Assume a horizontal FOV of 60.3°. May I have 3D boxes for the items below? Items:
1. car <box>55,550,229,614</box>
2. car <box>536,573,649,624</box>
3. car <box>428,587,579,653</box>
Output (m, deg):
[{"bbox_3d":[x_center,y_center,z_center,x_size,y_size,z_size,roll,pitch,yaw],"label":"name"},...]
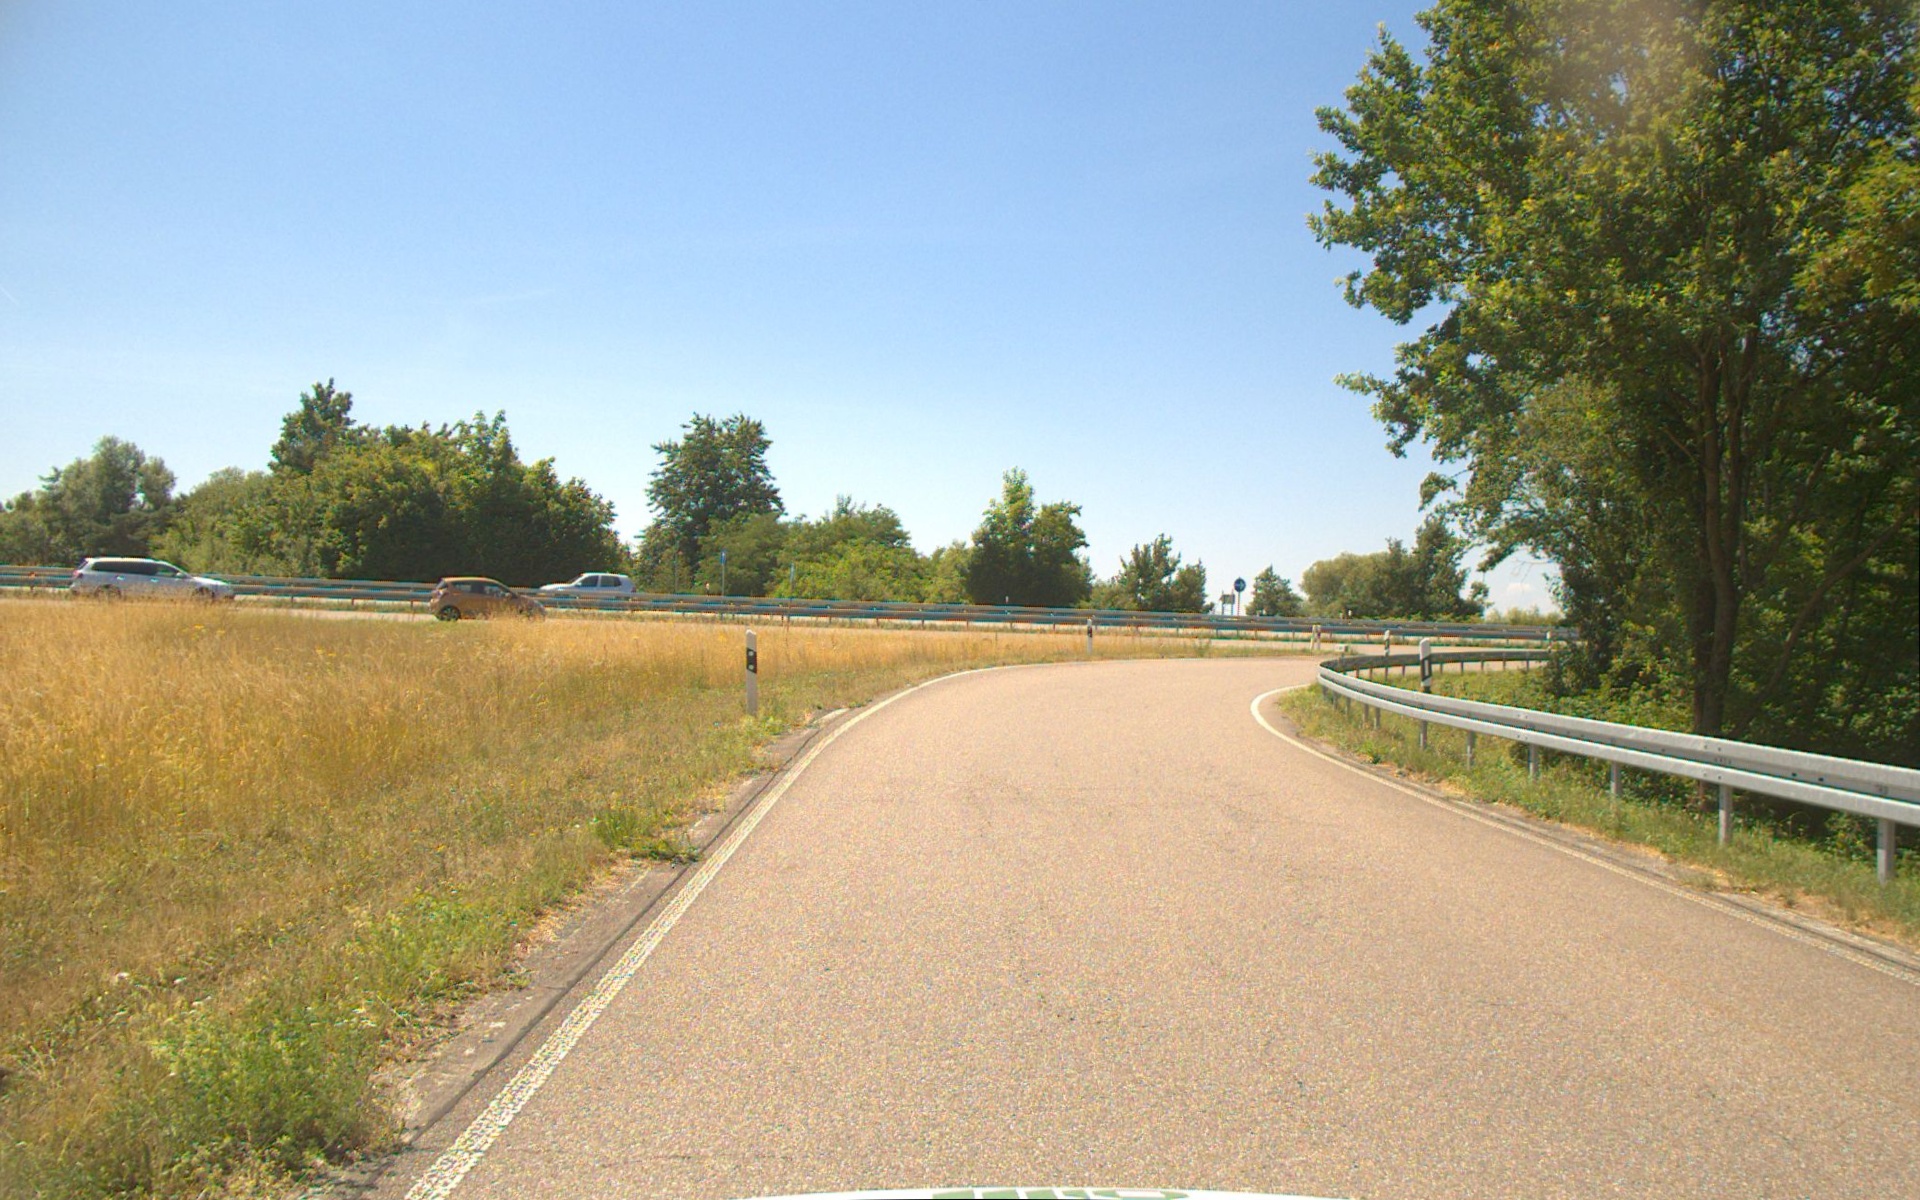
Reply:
[{"bbox_3d":[-25.747,-0.550,52.260,4.704,1.821,1.987,2,0,-23],"label":"car"},{"bbox_3d":[-15.216,-0.055,68.458,4.160,1.821,1.983,4,-2,-26],"label":"car"},{"bbox_3d":[-14.785,0.665,53.535,4.452,1.821,1.986,4,-2,-22],"label":"car"}]
